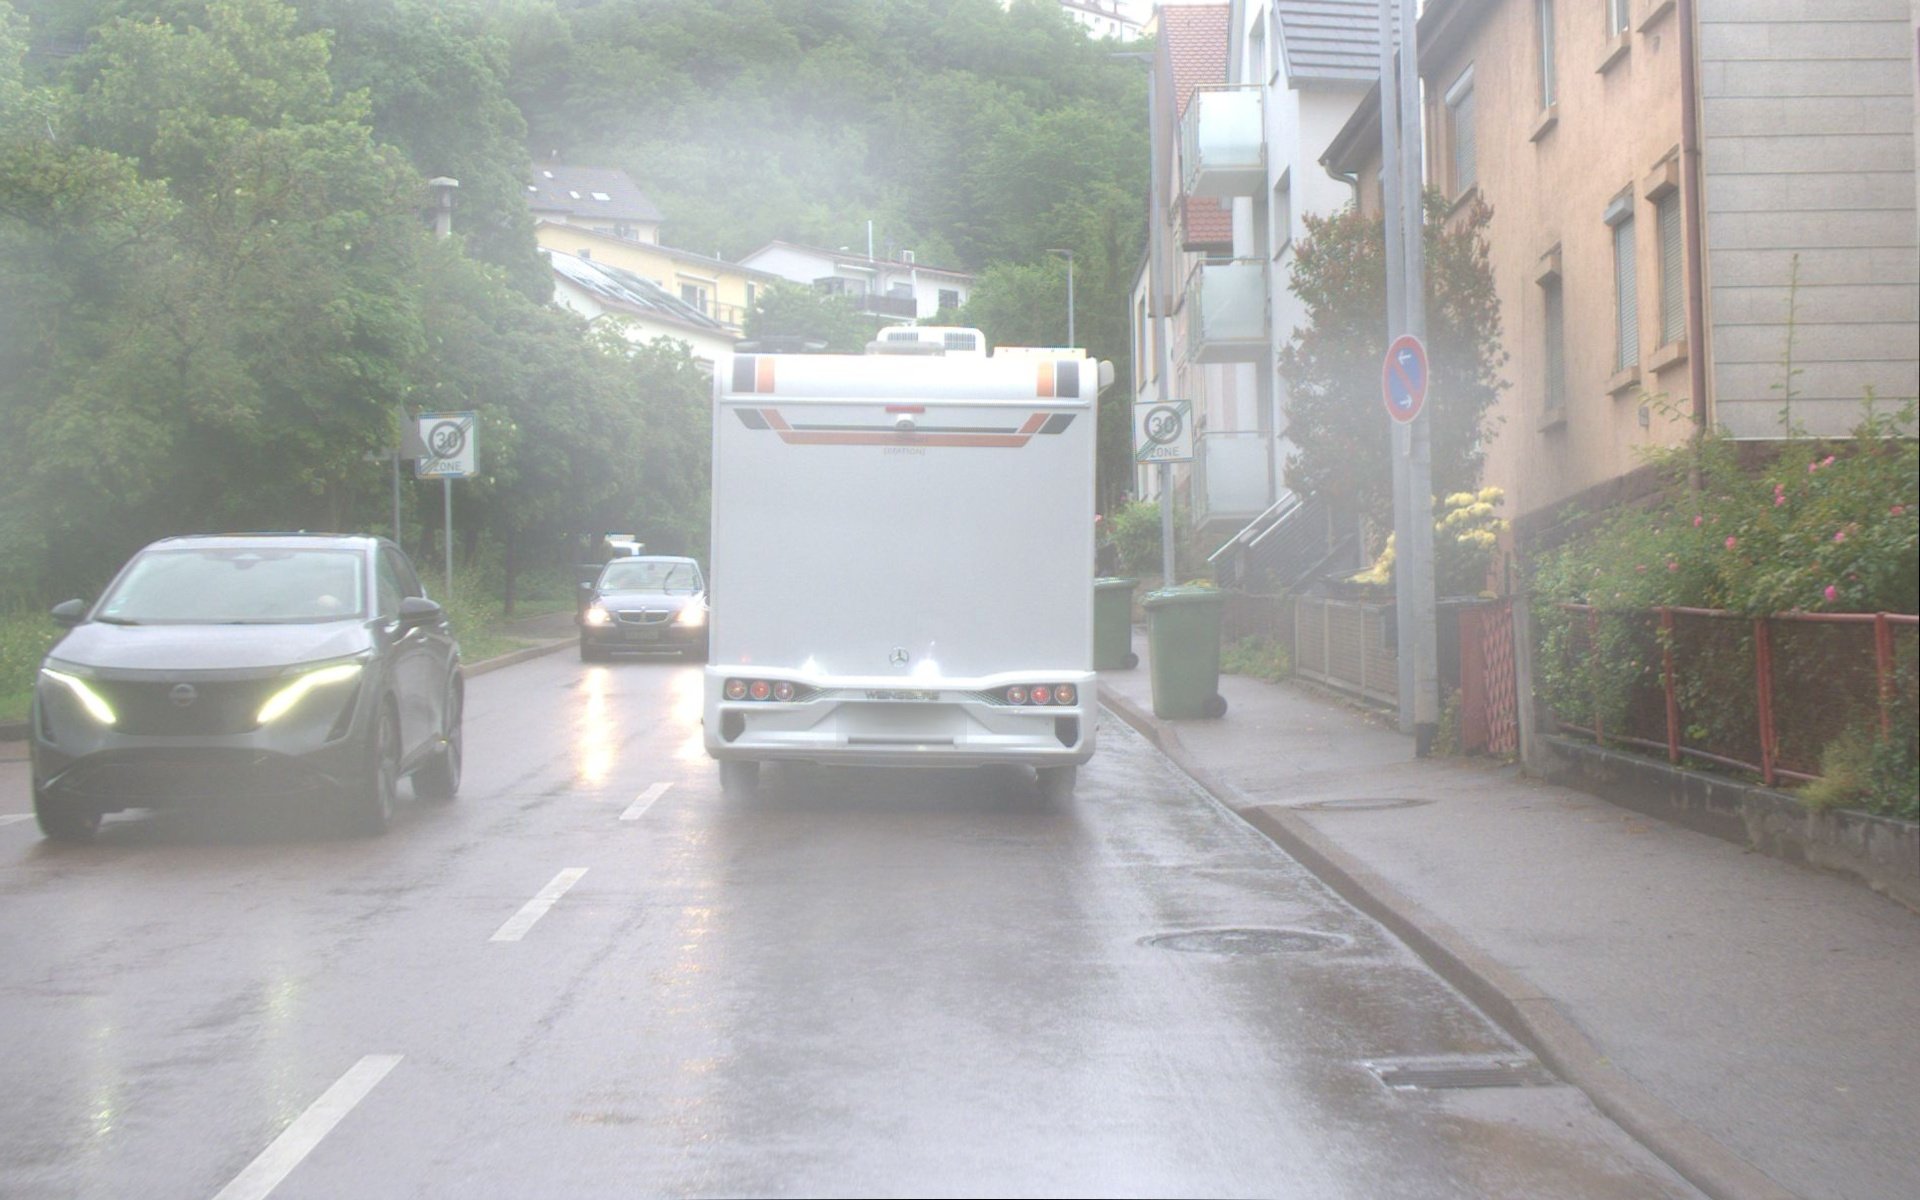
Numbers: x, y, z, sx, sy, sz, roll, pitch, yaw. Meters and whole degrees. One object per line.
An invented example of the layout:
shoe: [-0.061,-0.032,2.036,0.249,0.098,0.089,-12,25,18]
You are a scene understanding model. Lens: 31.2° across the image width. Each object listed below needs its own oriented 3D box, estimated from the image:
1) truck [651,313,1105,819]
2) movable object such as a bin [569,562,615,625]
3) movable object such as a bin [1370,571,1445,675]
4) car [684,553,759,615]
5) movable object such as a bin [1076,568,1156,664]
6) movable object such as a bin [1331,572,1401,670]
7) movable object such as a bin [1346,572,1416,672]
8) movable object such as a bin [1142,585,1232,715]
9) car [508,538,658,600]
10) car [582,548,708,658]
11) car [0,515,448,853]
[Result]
truck: [-0.534,-0.232,22.285,2.515,2.808,6.202,0,1,-1]
movable object such as a bin: [-6.530,-0.117,61.008,0.720,1.096,0.757,1,1,0]
movable object such as a bin: [4.874,0.245,37.471,0.660,1.089,0.656,-3,1,-2]
car: [-5.645,-0.396,81.708,1.719,1.425,3.845,0,1,-3]
movable object such as a bin: [1.823,0.184,40.236,0.914,1.099,0.702,0,1,2]
movable object such as a bin: [4.729,0.237,40.080,0.660,1.089,0.545,-4,1,-2]
movable object such as a bin: [4.828,0.248,39.426,0.644,1.089,0.545,-4,1,-2]
movable object such as a bin: [1.872,0.403,28.430,0.720,1.048,0.800,0,1,2]
car: [-10.999,-0.911,100.491,4.106,1.794,2.000,0,1,2]
car: [-4.302,0.011,47.334,1.560,1.449,4.085,0,1,-3]
car: [-4.034,0.388,19.369,1.750,1.683,4.376,0,1,-2]
